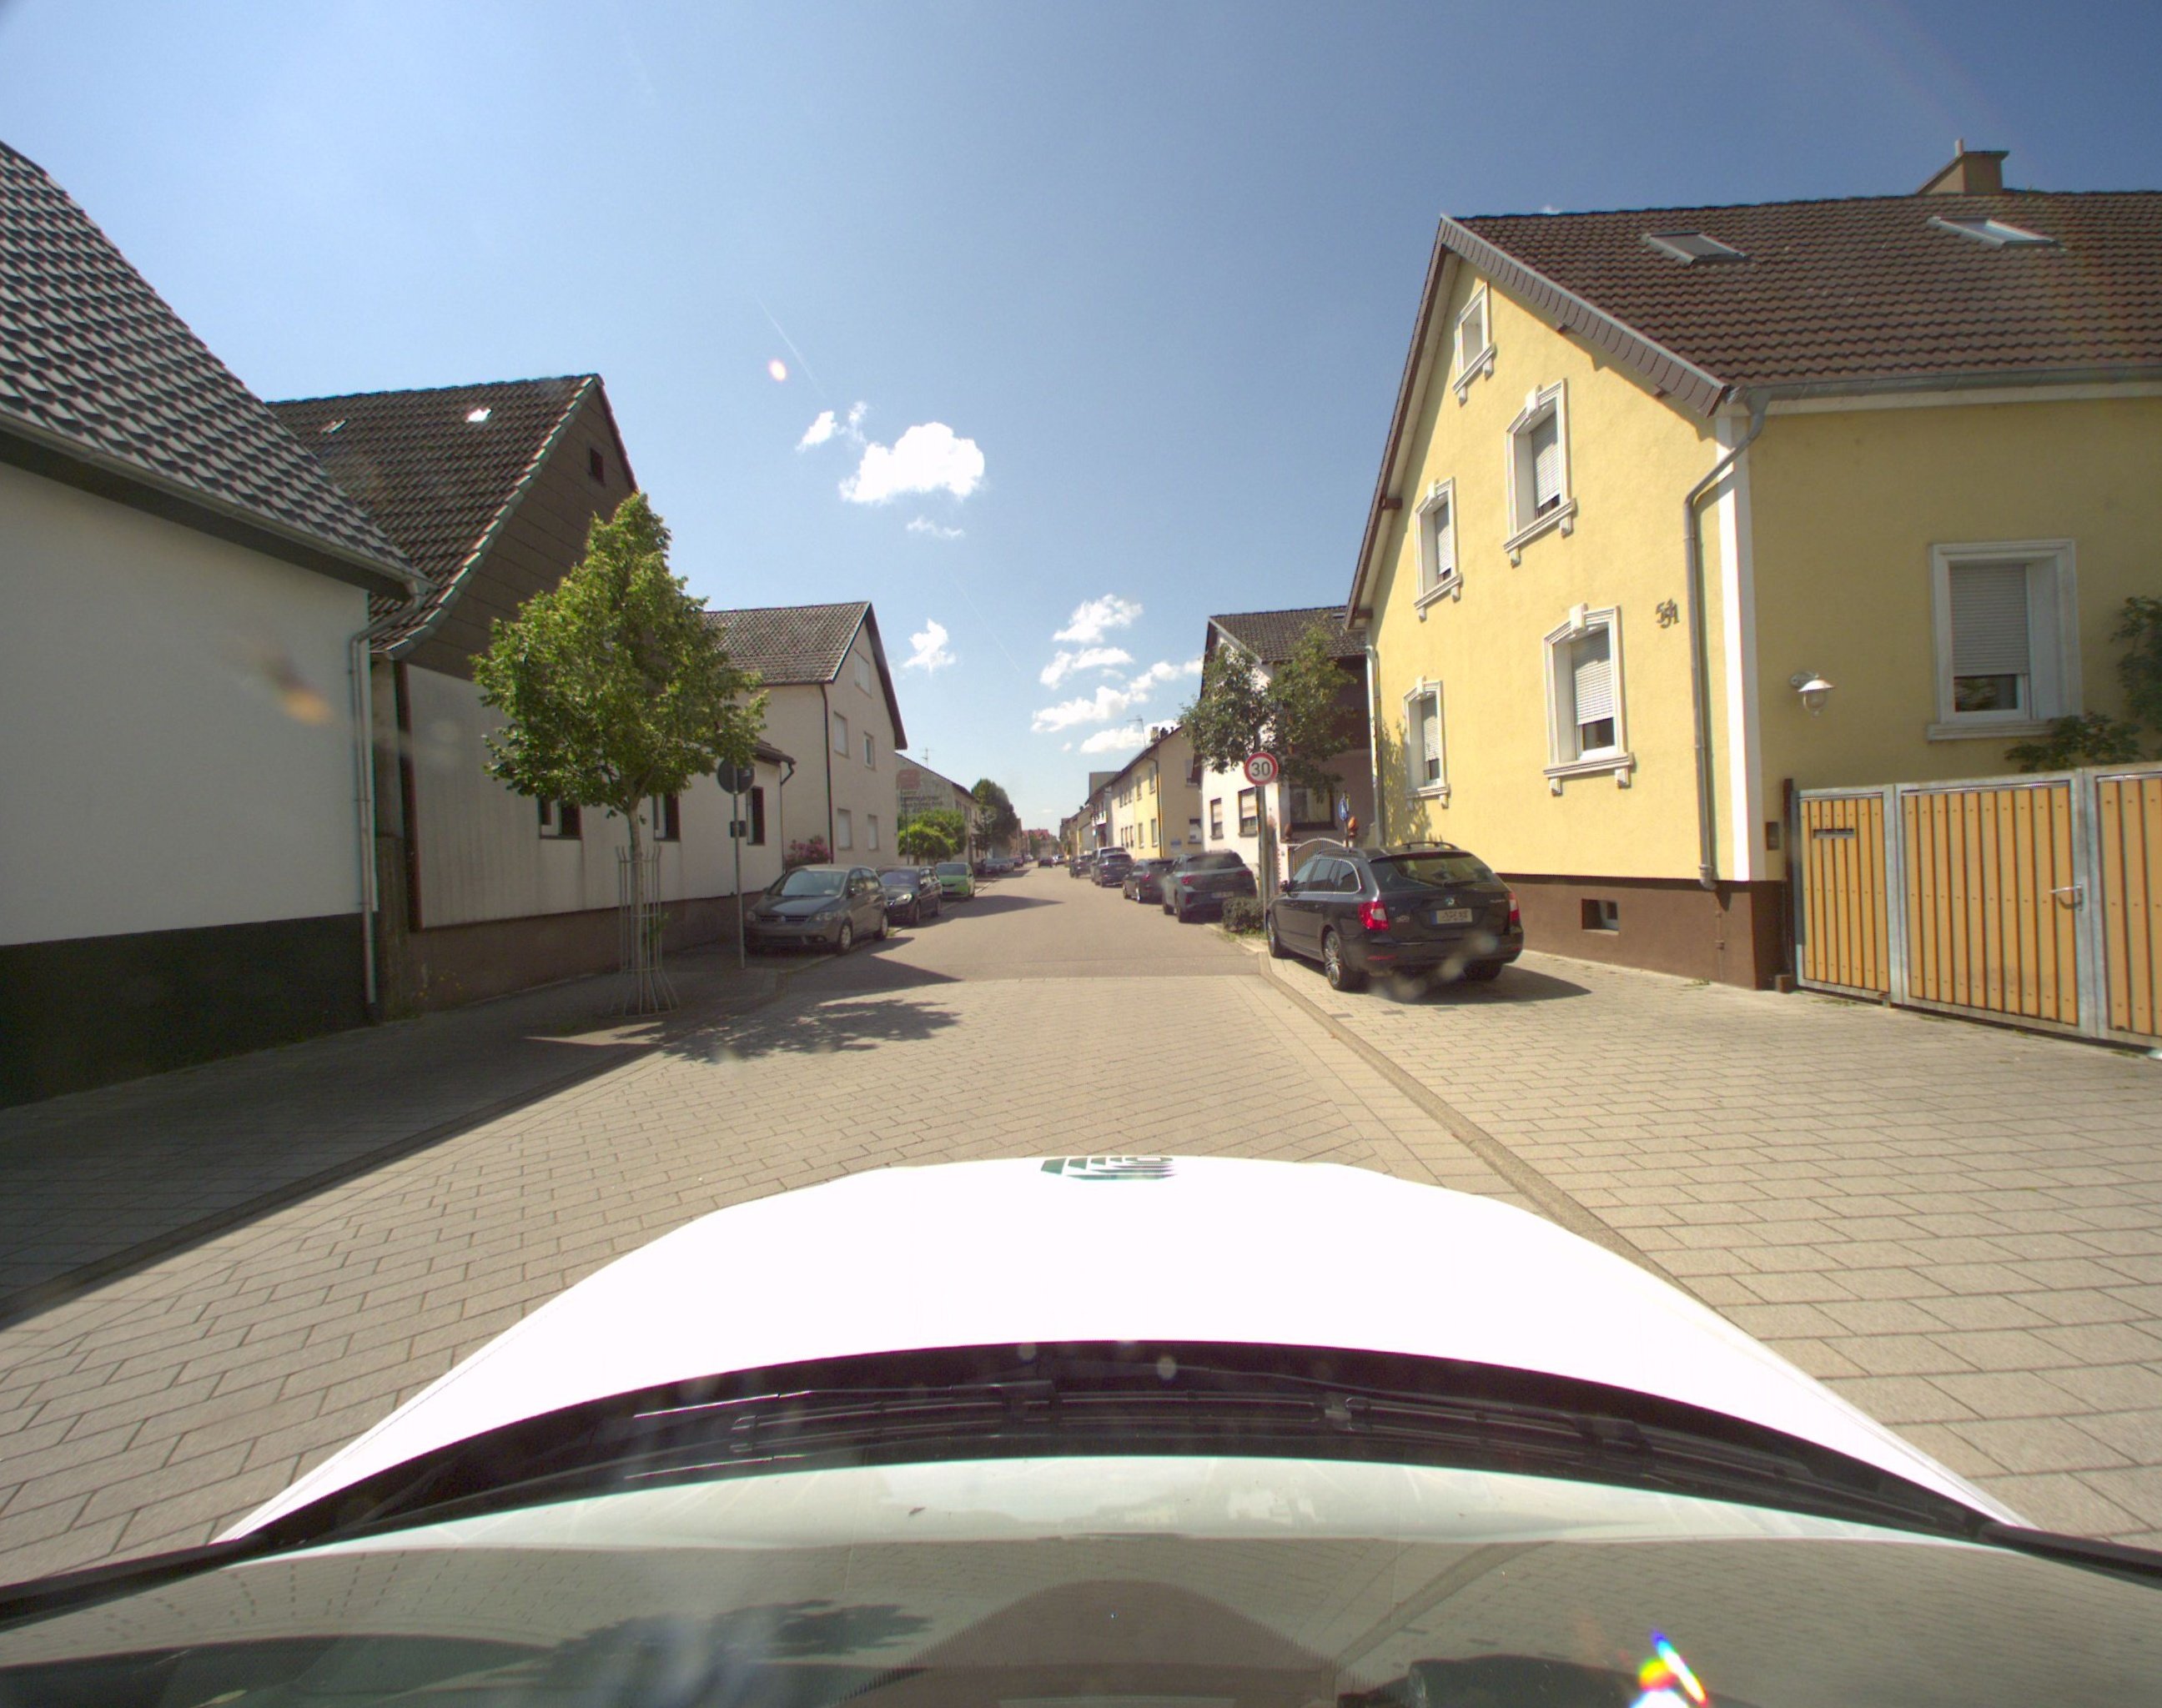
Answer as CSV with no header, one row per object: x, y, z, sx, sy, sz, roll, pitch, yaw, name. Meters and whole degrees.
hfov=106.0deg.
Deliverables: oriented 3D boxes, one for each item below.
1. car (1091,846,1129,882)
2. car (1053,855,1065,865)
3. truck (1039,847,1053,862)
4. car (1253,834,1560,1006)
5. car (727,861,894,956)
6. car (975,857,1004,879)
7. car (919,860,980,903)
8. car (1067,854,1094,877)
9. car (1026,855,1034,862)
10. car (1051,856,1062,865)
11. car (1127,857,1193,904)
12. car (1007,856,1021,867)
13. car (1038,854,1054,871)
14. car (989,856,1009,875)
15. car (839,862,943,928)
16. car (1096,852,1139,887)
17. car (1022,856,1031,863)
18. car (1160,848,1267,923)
1.624,0.531,46.397,1.901,1.871,3.998,-2,0,-1,car
-3.248,0.903,121.894,1.683,1.452,3.791,-2,0,-1,car
-9.631,0.069,224.033,3.558,3.953,8.569,-2,0,-4,truck
3.492,0.633,9.740,1.824,1.471,4.274,-4,-1,-1,car
-4.958,0.928,15.549,1.740,1.530,4.002,-1,0,2,car
-7.595,1.150,67.654,1.988,1.662,3.997,-2,0,-2,car
-5.057,1.018,31.890,1.788,1.475,3.868,-2,0,-1,car
-0.072,0.761,55.449,1.749,1.493,3.998,-2,0,-1,car
-14.208,1.214,225.796,1.915,1.667,3.997,-2,0,-2,car
-4.023,1.099,135.487,1.683,1.452,3.791,-2,0,-1,car
2.560,0.824,27.123,1.706,1.387,3.704,-2,0,-1,car
-10.104,1.124,122.654,1.912,1.442,3.997,-2,0,-2,car
-4.627,1.107,107.422,1.988,2.058,4.371,-2,0,-2,car
-8.033,1.080,80.144,1.679,1.758,3.613,-2,0,-2,car
-4.903,0.997,21.610,1.745,1.532,4.259,-1,0,0,car
1.785,0.751,40.916,1.872,1.591,3.998,-2,0,-1,car
-13.384,1.356,200.478,1.842,1.707,3.717,-2,0,-2,car
3.039,0.679,19.396,1.841,1.562,3.691,-2,0,-1,car
